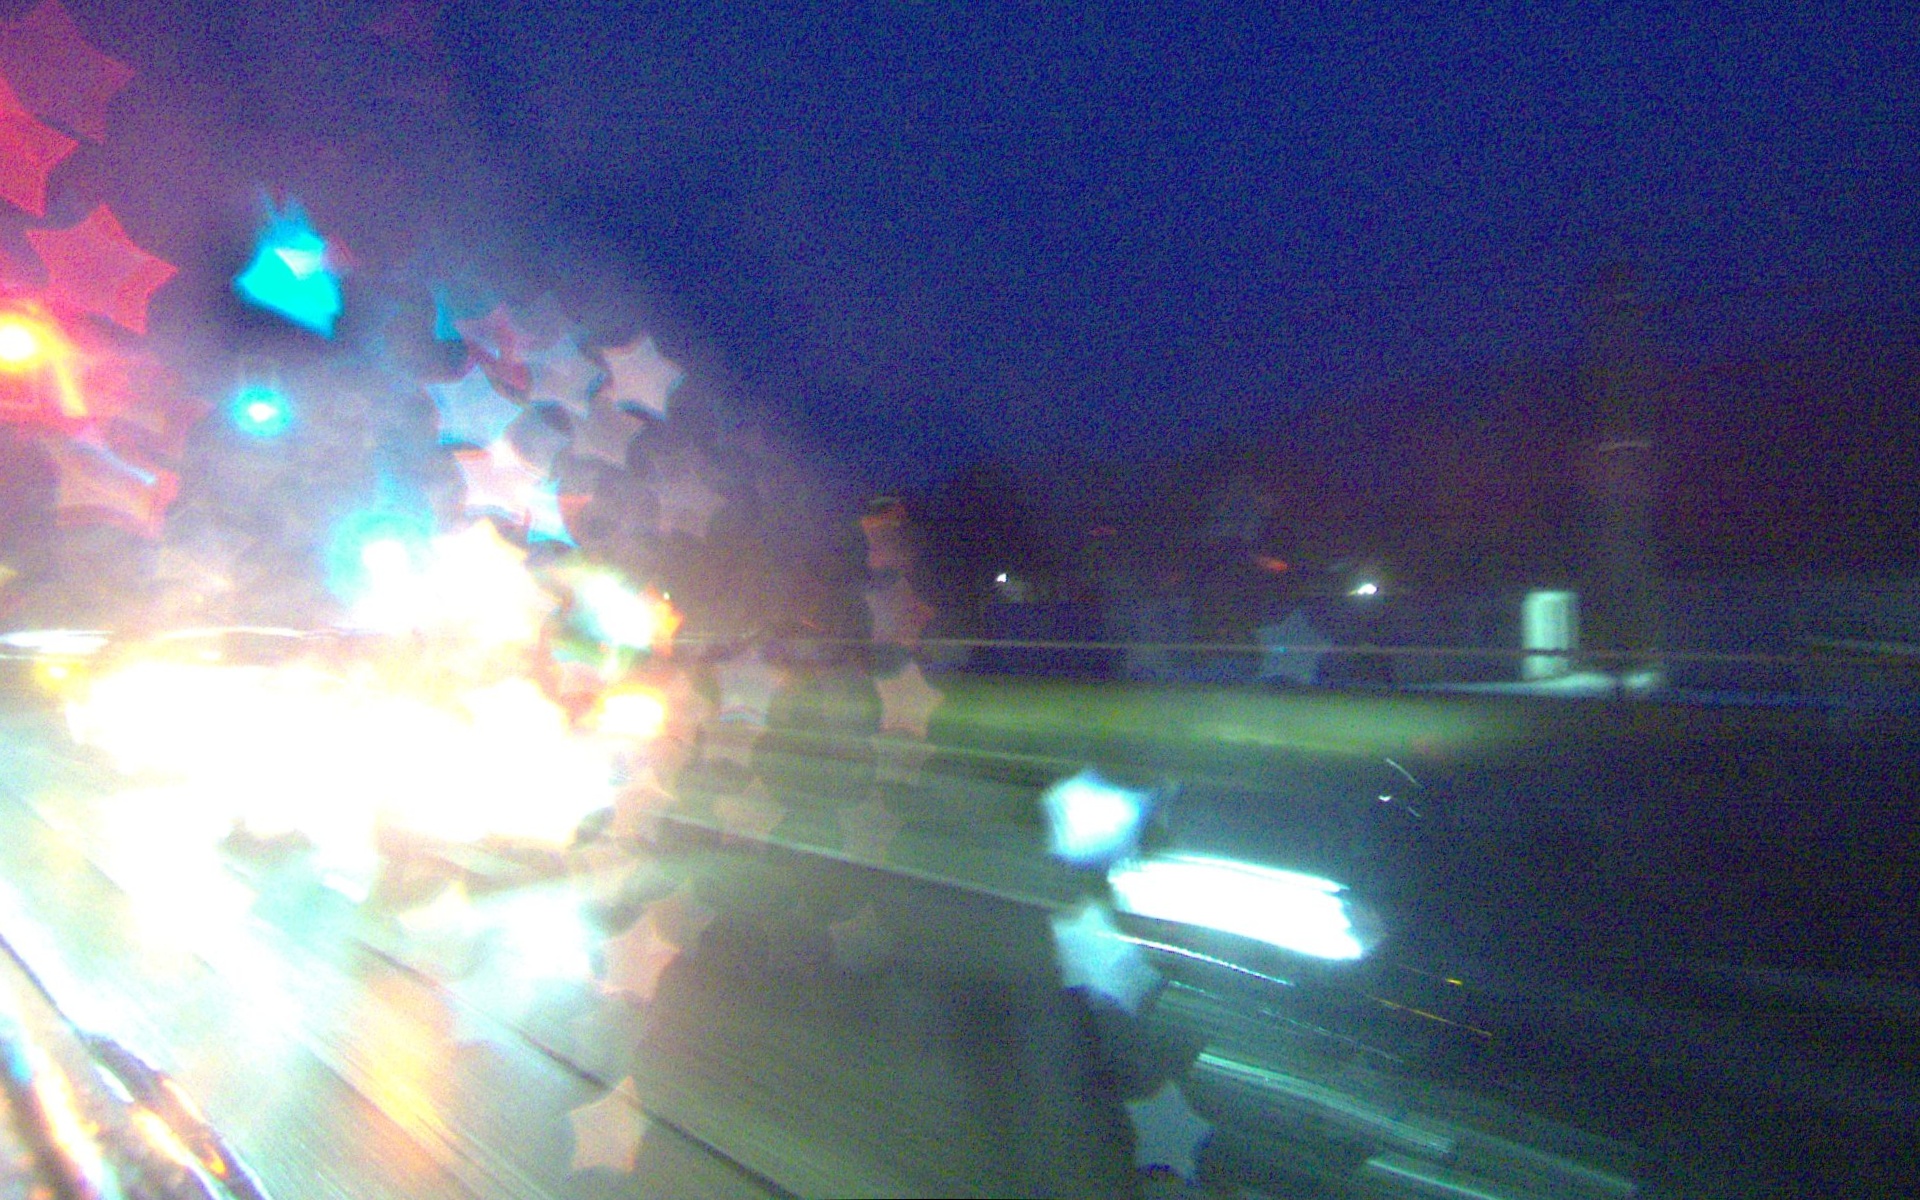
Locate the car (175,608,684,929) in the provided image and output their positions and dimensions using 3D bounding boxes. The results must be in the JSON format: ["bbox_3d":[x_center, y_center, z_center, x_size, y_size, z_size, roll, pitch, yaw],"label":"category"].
[{"bbox_3d":[-3.617,0.826,6.585,3.882,1.484,1.605,-2,-1,40],"label":"car"}]

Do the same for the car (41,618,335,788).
[{"bbox_3d":[-8.272,0.962,10.751,3.629,1.484,1.653,-2,-1,39],"label":"car"}]

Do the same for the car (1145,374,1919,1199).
[{"bbox_3d":[2.641,0.530,1.246,4.443,1.681,1.824,-2,-1,42],"label":"car"}]
